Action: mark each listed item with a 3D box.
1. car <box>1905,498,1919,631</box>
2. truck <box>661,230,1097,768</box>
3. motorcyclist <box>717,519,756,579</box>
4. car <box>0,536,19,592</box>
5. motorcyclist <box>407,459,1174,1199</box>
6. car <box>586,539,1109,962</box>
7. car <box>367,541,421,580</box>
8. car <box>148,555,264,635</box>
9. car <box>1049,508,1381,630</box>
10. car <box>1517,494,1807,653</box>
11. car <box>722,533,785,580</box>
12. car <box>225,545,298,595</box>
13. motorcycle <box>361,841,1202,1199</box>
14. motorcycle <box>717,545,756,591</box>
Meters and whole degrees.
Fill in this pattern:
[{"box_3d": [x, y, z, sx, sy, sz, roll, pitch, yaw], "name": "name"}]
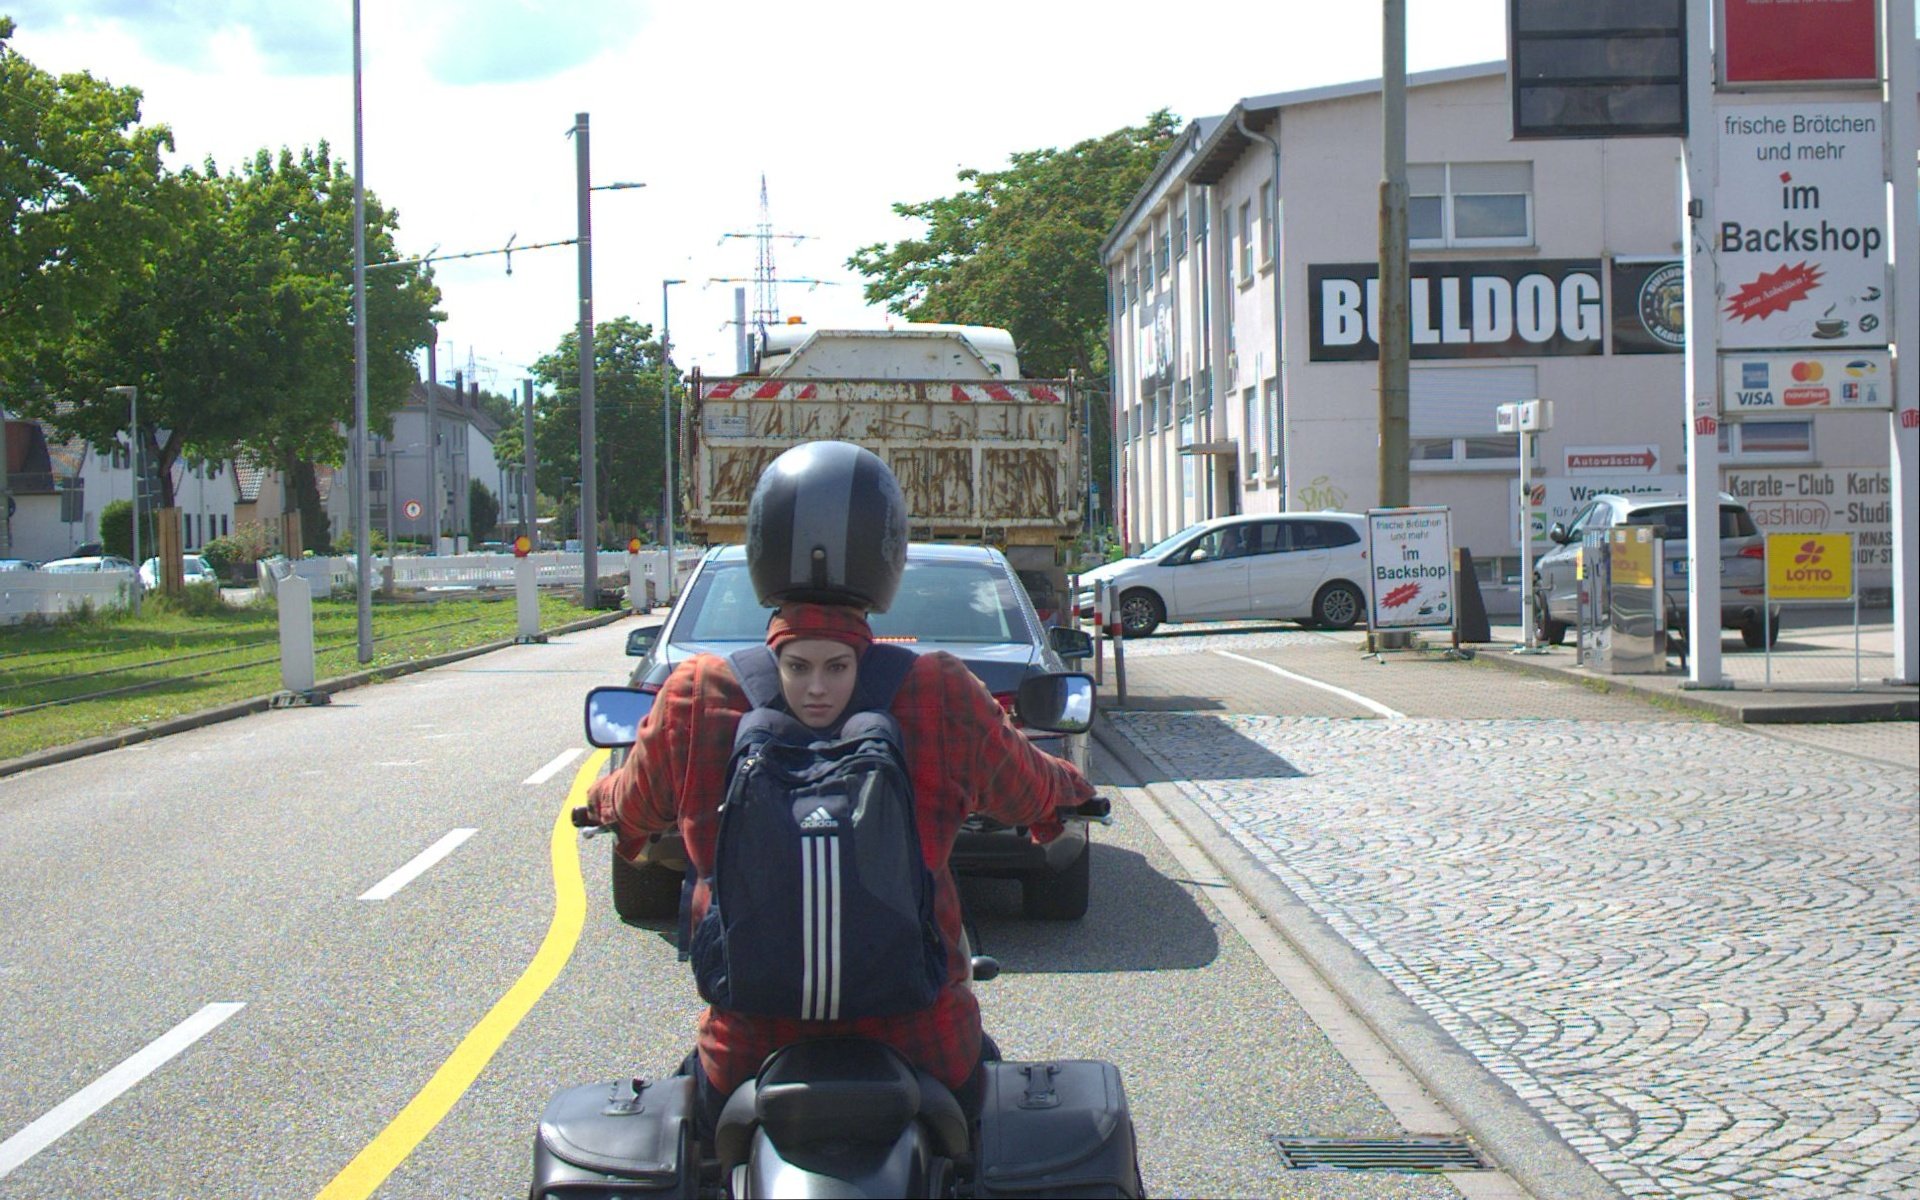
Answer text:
[{"box_3d": [11.730, -0.385, 37.099, 1.806, 1.498, 3.834, -1, 1, -3], "name": "car"}, {"box_3d": [-0.546, -0.718, 25.372, 2.638, 3.285, 8.057, -1, 1, -1], "name": "truck"}, {"box_3d": [-5.198, -1.198, 80.027, 0.868, 1.373, 0.800, -1, 1, -3], "name": "motorcyclist"}, {"box_3d": [-30.050, -1.073, 104.413, 1.776, 1.717, 4.128, -1, 1, 0], "name": "car"}, {"box_3d": [-0.219, 0.613, 5.035, 0.979, 1.597, 1.088, -1, 1, -1], "name": "motorcyclist"}, {"box_3d": [-0.420, 0.499, 14.133, 1.823, 1.447, 4.000, 1, 1, -1], "name": "car"}, {"box_3d": [-26.443, -1.870, 160.668, 1.776, 1.717, 4.250, -1, 1, 0], "name": "car"}, {"box_3d": [-17.502, -0.139, 79.968, 1.776, 1.717, 4.128, -1, 1, 0], "name": "car"}, {"box_3d": [3.460, -0.440, 46.999, 4.229, 1.537, 1.673, -1, 1, -8], "name": "car"}, {"box_3d": [7.375, -0.310, 36.529, 1.667, 1.557, 4.245, -1, 1, -8], "name": "car"}, {"box_3d": [-6.821, -1.465, 113.695, 1.823, 1.447, 4.324, -2, 1, -1], "name": "car"}, {"box_3d": [-25.425, -1.113, 125.249, 1.776, 1.717, 4.128, -1, 1, 0], "name": "car"}, {"box_3d": [-0.215, 0.955, 5.347, 0.979, 0.894, 2.653, -1, 1, -1], "name": "motorcycle"}, {"box_3d": [-5.198, -0.759, 80.000, 0.868, 1.017, 2.245, -1, 1, -3], "name": "motorcycle"}]
